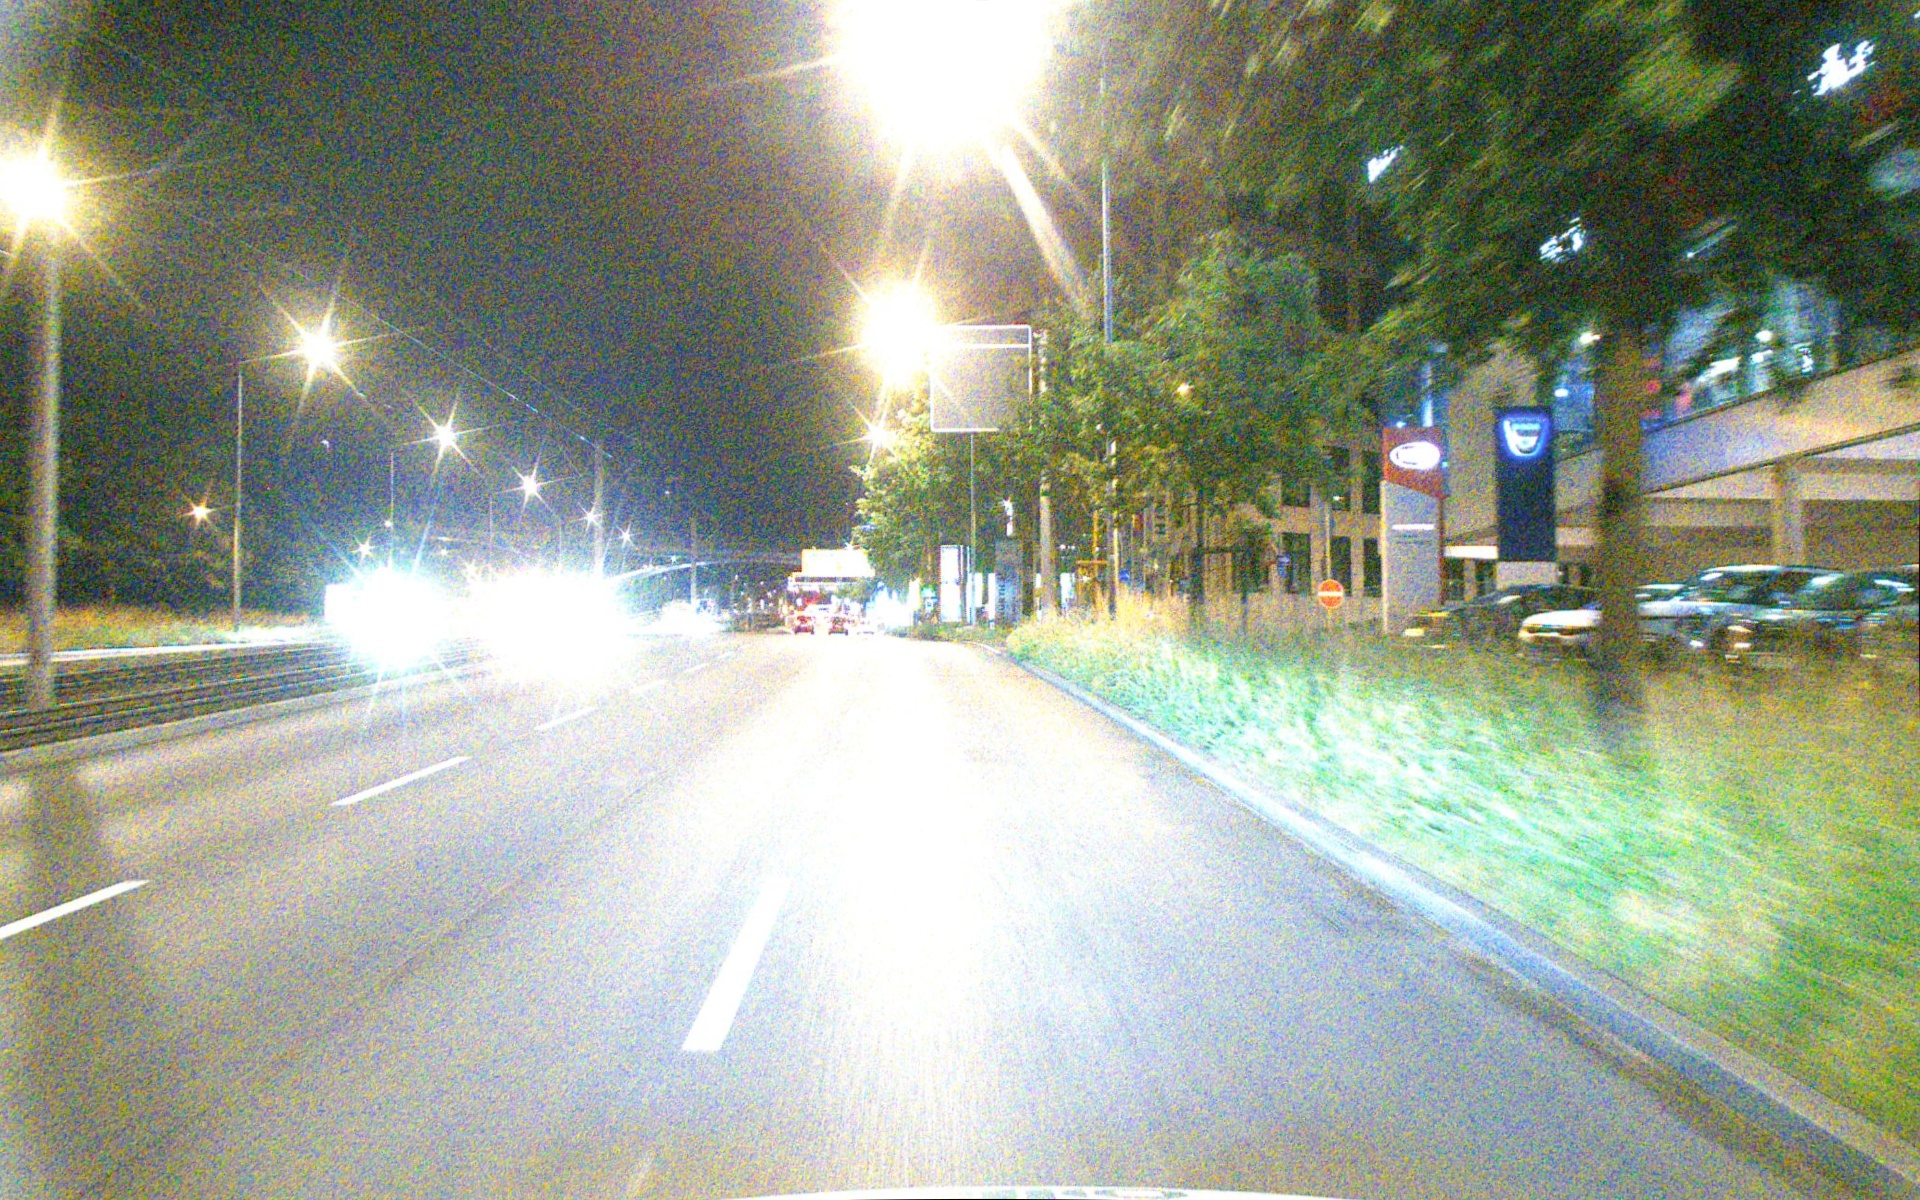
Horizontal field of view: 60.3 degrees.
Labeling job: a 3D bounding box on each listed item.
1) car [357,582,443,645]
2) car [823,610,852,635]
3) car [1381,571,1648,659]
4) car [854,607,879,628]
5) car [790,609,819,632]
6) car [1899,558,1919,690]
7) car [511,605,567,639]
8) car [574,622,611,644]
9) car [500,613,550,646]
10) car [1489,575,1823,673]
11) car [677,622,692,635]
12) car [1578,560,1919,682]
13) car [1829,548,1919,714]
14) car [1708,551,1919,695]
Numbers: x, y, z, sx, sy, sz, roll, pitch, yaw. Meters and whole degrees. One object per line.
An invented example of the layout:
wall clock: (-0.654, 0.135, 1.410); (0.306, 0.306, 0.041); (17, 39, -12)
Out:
car: (-26.057, 0.623, 77.250); (2.104, 2.717, 6.954); (-3, 0, -5)
car: (-10.794, 1.978, 146.432); (2.308, 2.166, 4.824); (0, 0, -1)
car: (9.590, 0.269, 28.683); (4.053, 1.445, 1.869); (1, 0, -15)
car: (-9.607, 1.829, 170.801); (2.378, 2.150, 4.824); (0, 0, -1)
car: (-14.130, 1.857, 150.543); (2.217, 2.049, 4.824); (0, 0, -1)
car: (15.013, 0.255, 22.244); (1.575, 1.827, 3.811); (1, -3, -41)
car: (-19.506, 0.985, 76.741); (1.588, 1.465, 4.336); (-2, 0, -2)
car: (-26.129, 2.357, 117.718); (1.829, 1.454, 4.953); (1, 0, -4)
car: (-23.394, 1.576, 88.983); (1.955, 1.622, 3.995); (-2, 0, -6)
car: (10.012, 0.285, 23.749); (4.572, 1.286, 1.931); (-1, 1, -26)
car: (-40.452, 4.192, 242.700); (1.827, 1.781, 3.697); (0, 0, -5)
car: (10.121, 0.220, 21.093); (3.926, 1.448, 1.899); (0, 1, -19)
car: (10.534, 0.202, 15.773); (3.930, 1.495, 1.822); (-3, 1, -21)
car: (10.203, 0.242, 18.265); (3.555, 1.458, 1.667); (0, 0, -25)
